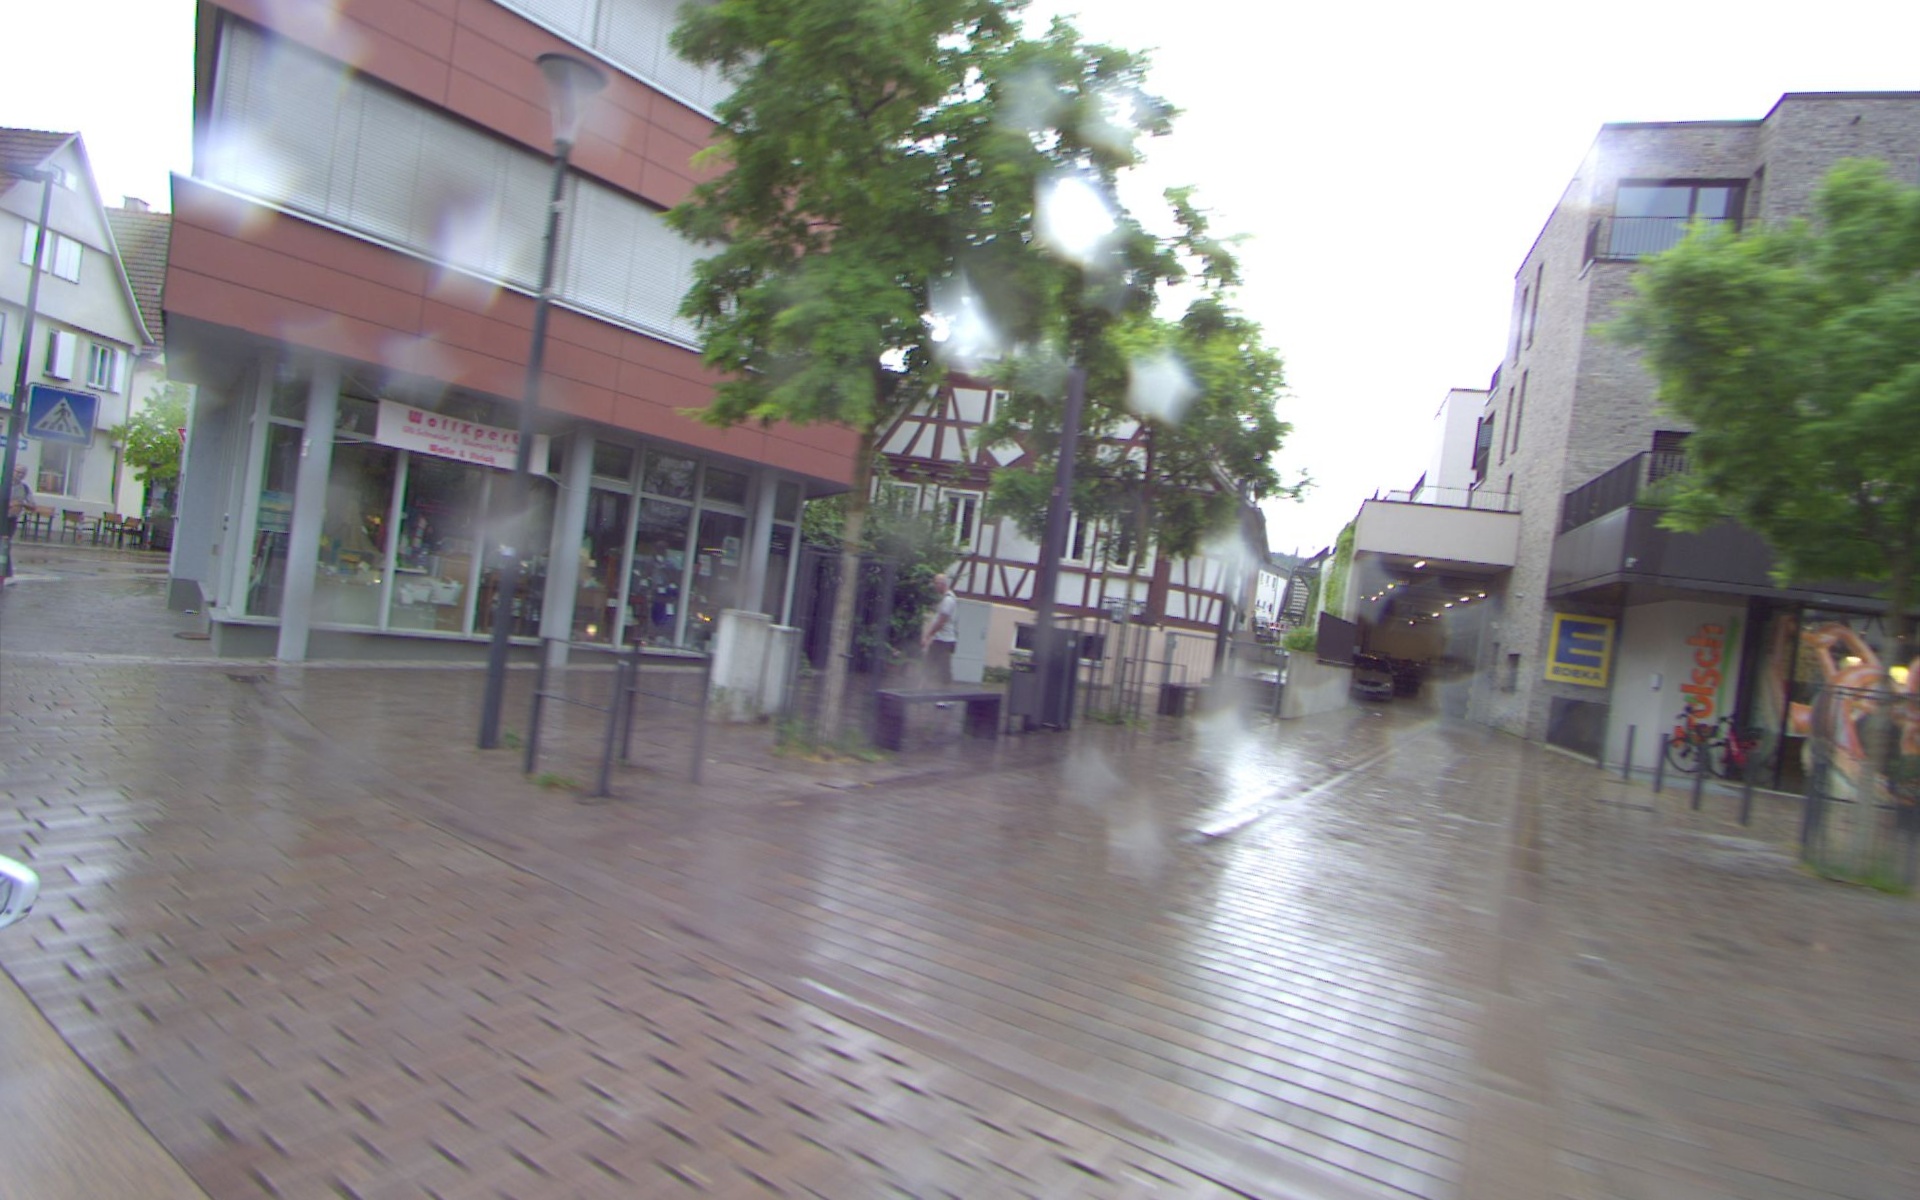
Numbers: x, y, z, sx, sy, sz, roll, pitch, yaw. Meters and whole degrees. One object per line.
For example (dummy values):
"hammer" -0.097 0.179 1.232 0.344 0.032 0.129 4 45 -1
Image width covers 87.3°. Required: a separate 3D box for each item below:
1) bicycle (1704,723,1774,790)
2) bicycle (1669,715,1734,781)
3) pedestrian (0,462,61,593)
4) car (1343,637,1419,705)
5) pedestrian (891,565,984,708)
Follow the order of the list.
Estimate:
"bicycle" 14.289 2.845 18.487 0.440 0.981 1.705 7 1 21
"bicycle" 13.773 2.728 18.721 0.440 0.981 1.705 7 1 21
"pedestrian" -14.706 -1.125 15.476 0.848 1.938 0.757 7 0 -5
"car" 15.232 2.500 36.587 1.962 2.040 3.998 7 1 17
"pedestrian" -0.303 0.489 13.561 0.697 1.808 0.844 8 3 38
